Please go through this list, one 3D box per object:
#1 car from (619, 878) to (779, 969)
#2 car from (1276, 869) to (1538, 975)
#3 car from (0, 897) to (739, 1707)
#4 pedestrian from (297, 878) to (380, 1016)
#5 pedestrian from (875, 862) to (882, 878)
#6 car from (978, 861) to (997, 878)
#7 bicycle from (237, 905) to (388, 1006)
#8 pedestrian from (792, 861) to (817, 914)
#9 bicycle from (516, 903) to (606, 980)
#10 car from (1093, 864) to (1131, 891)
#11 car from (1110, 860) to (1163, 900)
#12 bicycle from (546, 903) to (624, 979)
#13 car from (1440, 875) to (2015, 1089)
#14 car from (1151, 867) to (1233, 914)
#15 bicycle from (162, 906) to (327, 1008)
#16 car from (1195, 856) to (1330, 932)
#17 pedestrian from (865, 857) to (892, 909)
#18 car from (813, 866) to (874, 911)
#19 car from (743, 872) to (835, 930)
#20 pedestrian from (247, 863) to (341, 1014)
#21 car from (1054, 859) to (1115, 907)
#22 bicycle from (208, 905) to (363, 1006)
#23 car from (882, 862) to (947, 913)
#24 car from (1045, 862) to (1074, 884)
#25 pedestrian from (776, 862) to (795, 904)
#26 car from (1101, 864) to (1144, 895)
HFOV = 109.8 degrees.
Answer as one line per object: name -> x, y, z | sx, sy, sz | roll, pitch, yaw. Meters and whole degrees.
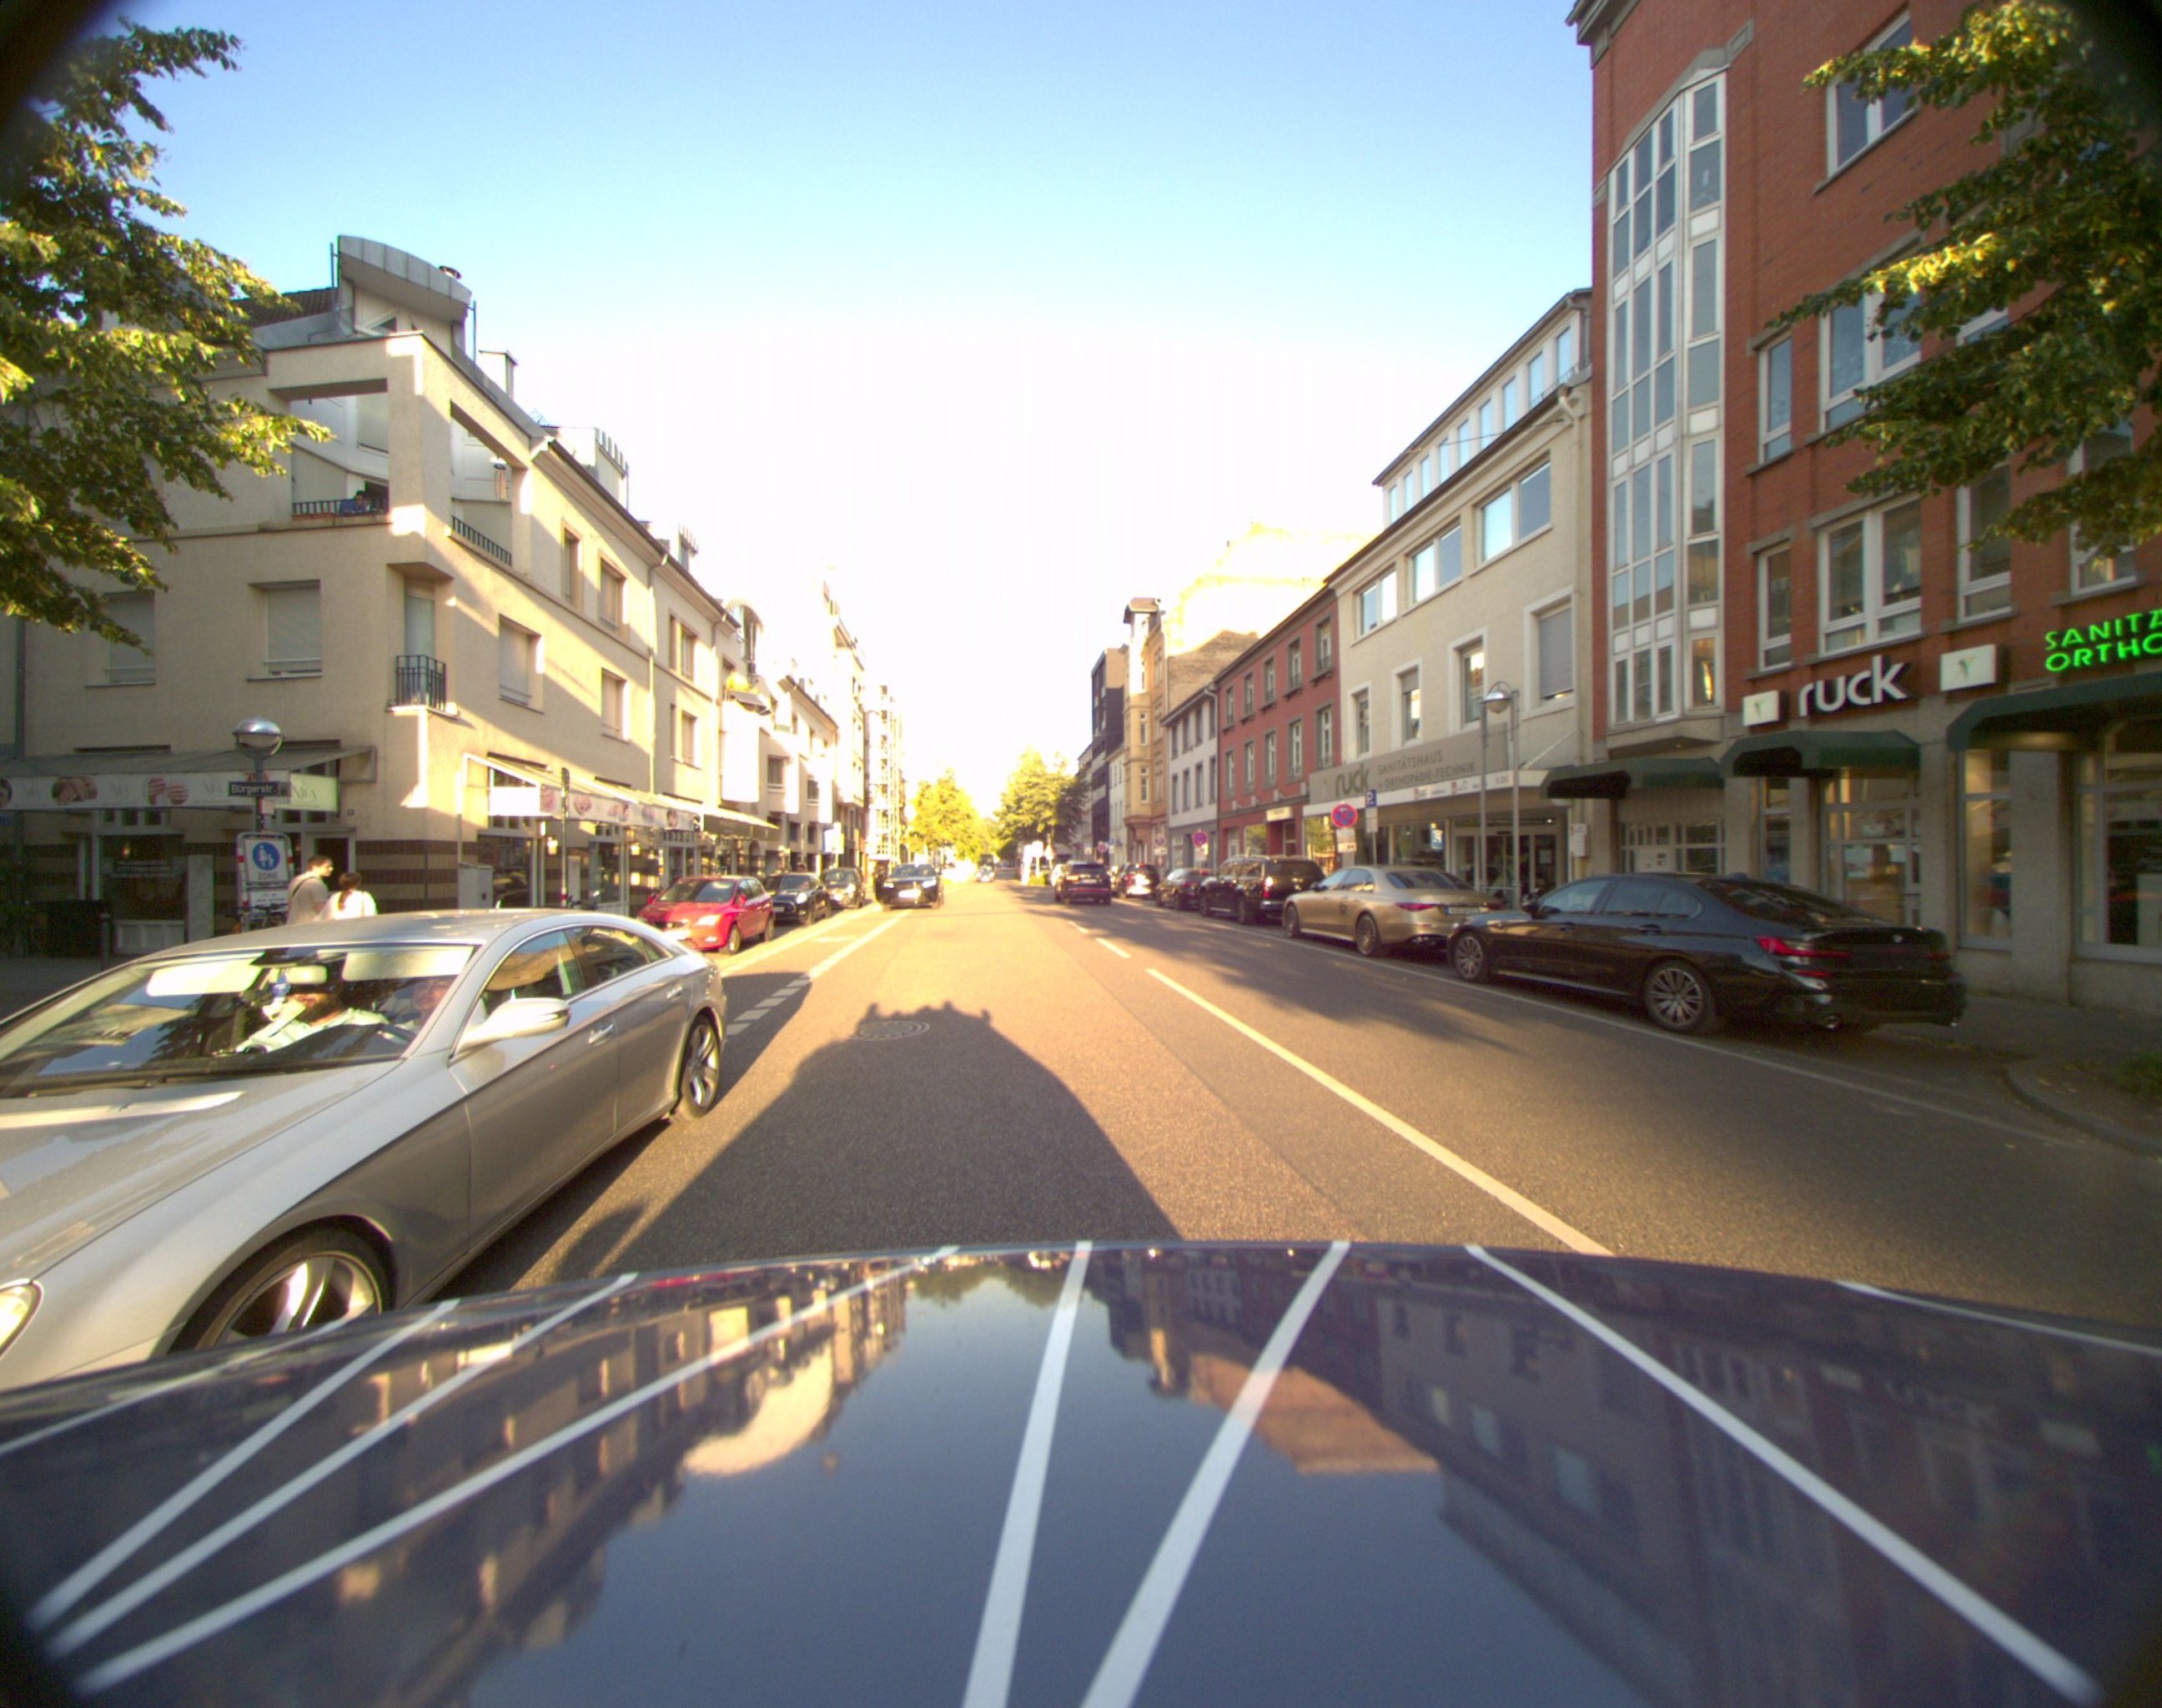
car -> -7.196, 1.221, 14.731 | 1.594, 1.425, 3.923 | 1, 0, -8
car -> 5.355, 1.032, 13.460 | 2.000, 1.463, 5.104 | 1, -1, -6
car -> -3.035, 1.050, 3.084 | 1.748, 1.393, 4.635 | -2, 1, -8
pedestrian -> -8.836, 1.094, 9.054 | 0.521, 1.583, 0.408 | 2, 0, -8
pedestrian -> -16.541, 1.294, 62.053 | 0.492, 1.256, 0.421 | -2, 1, -7
car -> -8.823, 1.435, 71.666 | 1.623, 1.465, 3.686 | -2, 0, -8
bicycle -> -10.293, 1.308, 10.264 | 0.322, 1.098, 1.878 | -1, 0, -7
pedestrian -> -9.238, 1.106, 25.403 | 0.631, 1.739, 0.669 | 0, 0, -8
bicycle -> -8.382, 1.374, 12.336 | 0.315, 1.040, 1.881 | 0, 0, -5
car -> 1.750, 1.332, 44.423 | 1.674, 1.448, 3.563 | 2, -1, -6
car -> 2.482, 1.155, 34.913 | 1.726, 1.673, 4.047 | 2, -1, -6
bicycle -> -8.033, 1.373, 12.380 | 0.315, 1.040, 1.664 | 0, 0, -5
car -> 5.889, 1.015, 7.874 | 1.726, 1.464, 4.538 | 2, -1, -7
car -> 3.762, 1.224, 26.440 | 1.707, 1.429, 4.011 | 2, -1, -8
bicycle -> -11.075, 1.309, 10.153 | 0.322, 1.098, 1.878 | -1, 0, -7
car -> 4.652, 0.972, 20.313 | 1.726, 1.768, 4.935 | 1, -1, -9
pedestrian -> -7.517, 1.072, 28.218 | 0.779, 1.872, 0.669 | -4, 1, -8
car -> -9.054, 1.266, 29.247 | 1.622, 1.583, 3.923 | -1, 0, -8
car -> -8.223, 1.267, 21.737 | 1.622, 1.425, 3.923 | 0, 0, -8
pedestrian -> -9.380, 0.991, 9.077 | 0.545, 1.748, 0.502 | 2, 0, -8
car -> 0.058, 1.044, 28.842 | 1.736, 1.665, 4.293 | 0, -1, -7
bicycle -> -10.613, 1.303, 10.229 | 0.291, 1.098, 1.886 | -1, 0, -7
car -> -5.955, 1.136, 27.549 | 1.891, 1.626, 4.224 | -2, 0, -8
car -> -1.605, 1.341, 54.878 | 1.674, 1.512, 3.562 | 1, 0, -8
pedestrian -> -12.919, 1.263, 33.218 | 0.576, 1.789, 0.450 | -2, 1, -7
car -> 2.130, 1.294, 39.975 | 1.690, 1.461, 3.689 | 2, -1, -6
